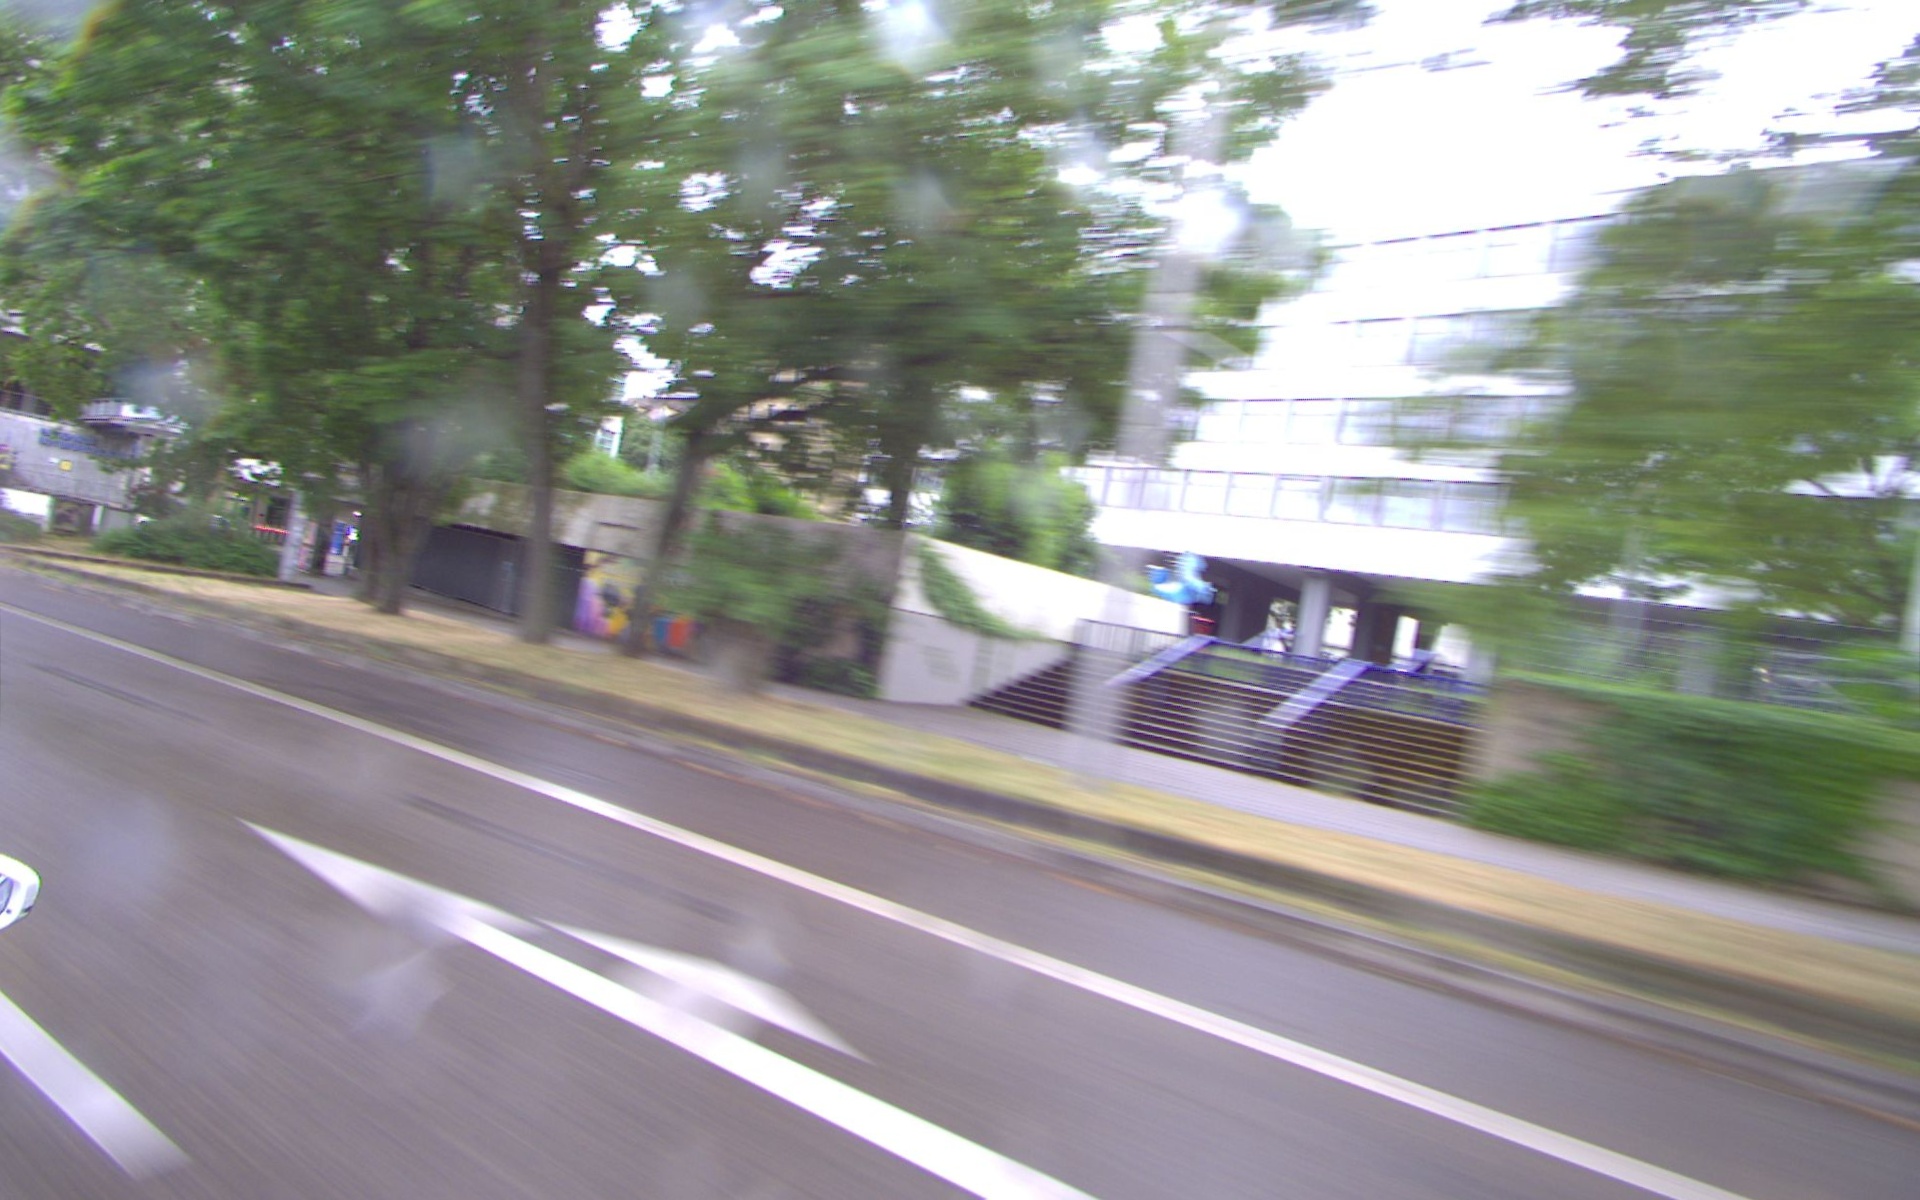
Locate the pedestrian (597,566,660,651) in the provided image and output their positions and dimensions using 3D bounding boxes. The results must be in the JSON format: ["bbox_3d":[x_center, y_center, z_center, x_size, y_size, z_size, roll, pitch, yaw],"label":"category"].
[{"bbox_3d":[-8.030,0.198,24.366,1.041,1.886,0.806,7,0,40],"label":"pedestrian"}]
